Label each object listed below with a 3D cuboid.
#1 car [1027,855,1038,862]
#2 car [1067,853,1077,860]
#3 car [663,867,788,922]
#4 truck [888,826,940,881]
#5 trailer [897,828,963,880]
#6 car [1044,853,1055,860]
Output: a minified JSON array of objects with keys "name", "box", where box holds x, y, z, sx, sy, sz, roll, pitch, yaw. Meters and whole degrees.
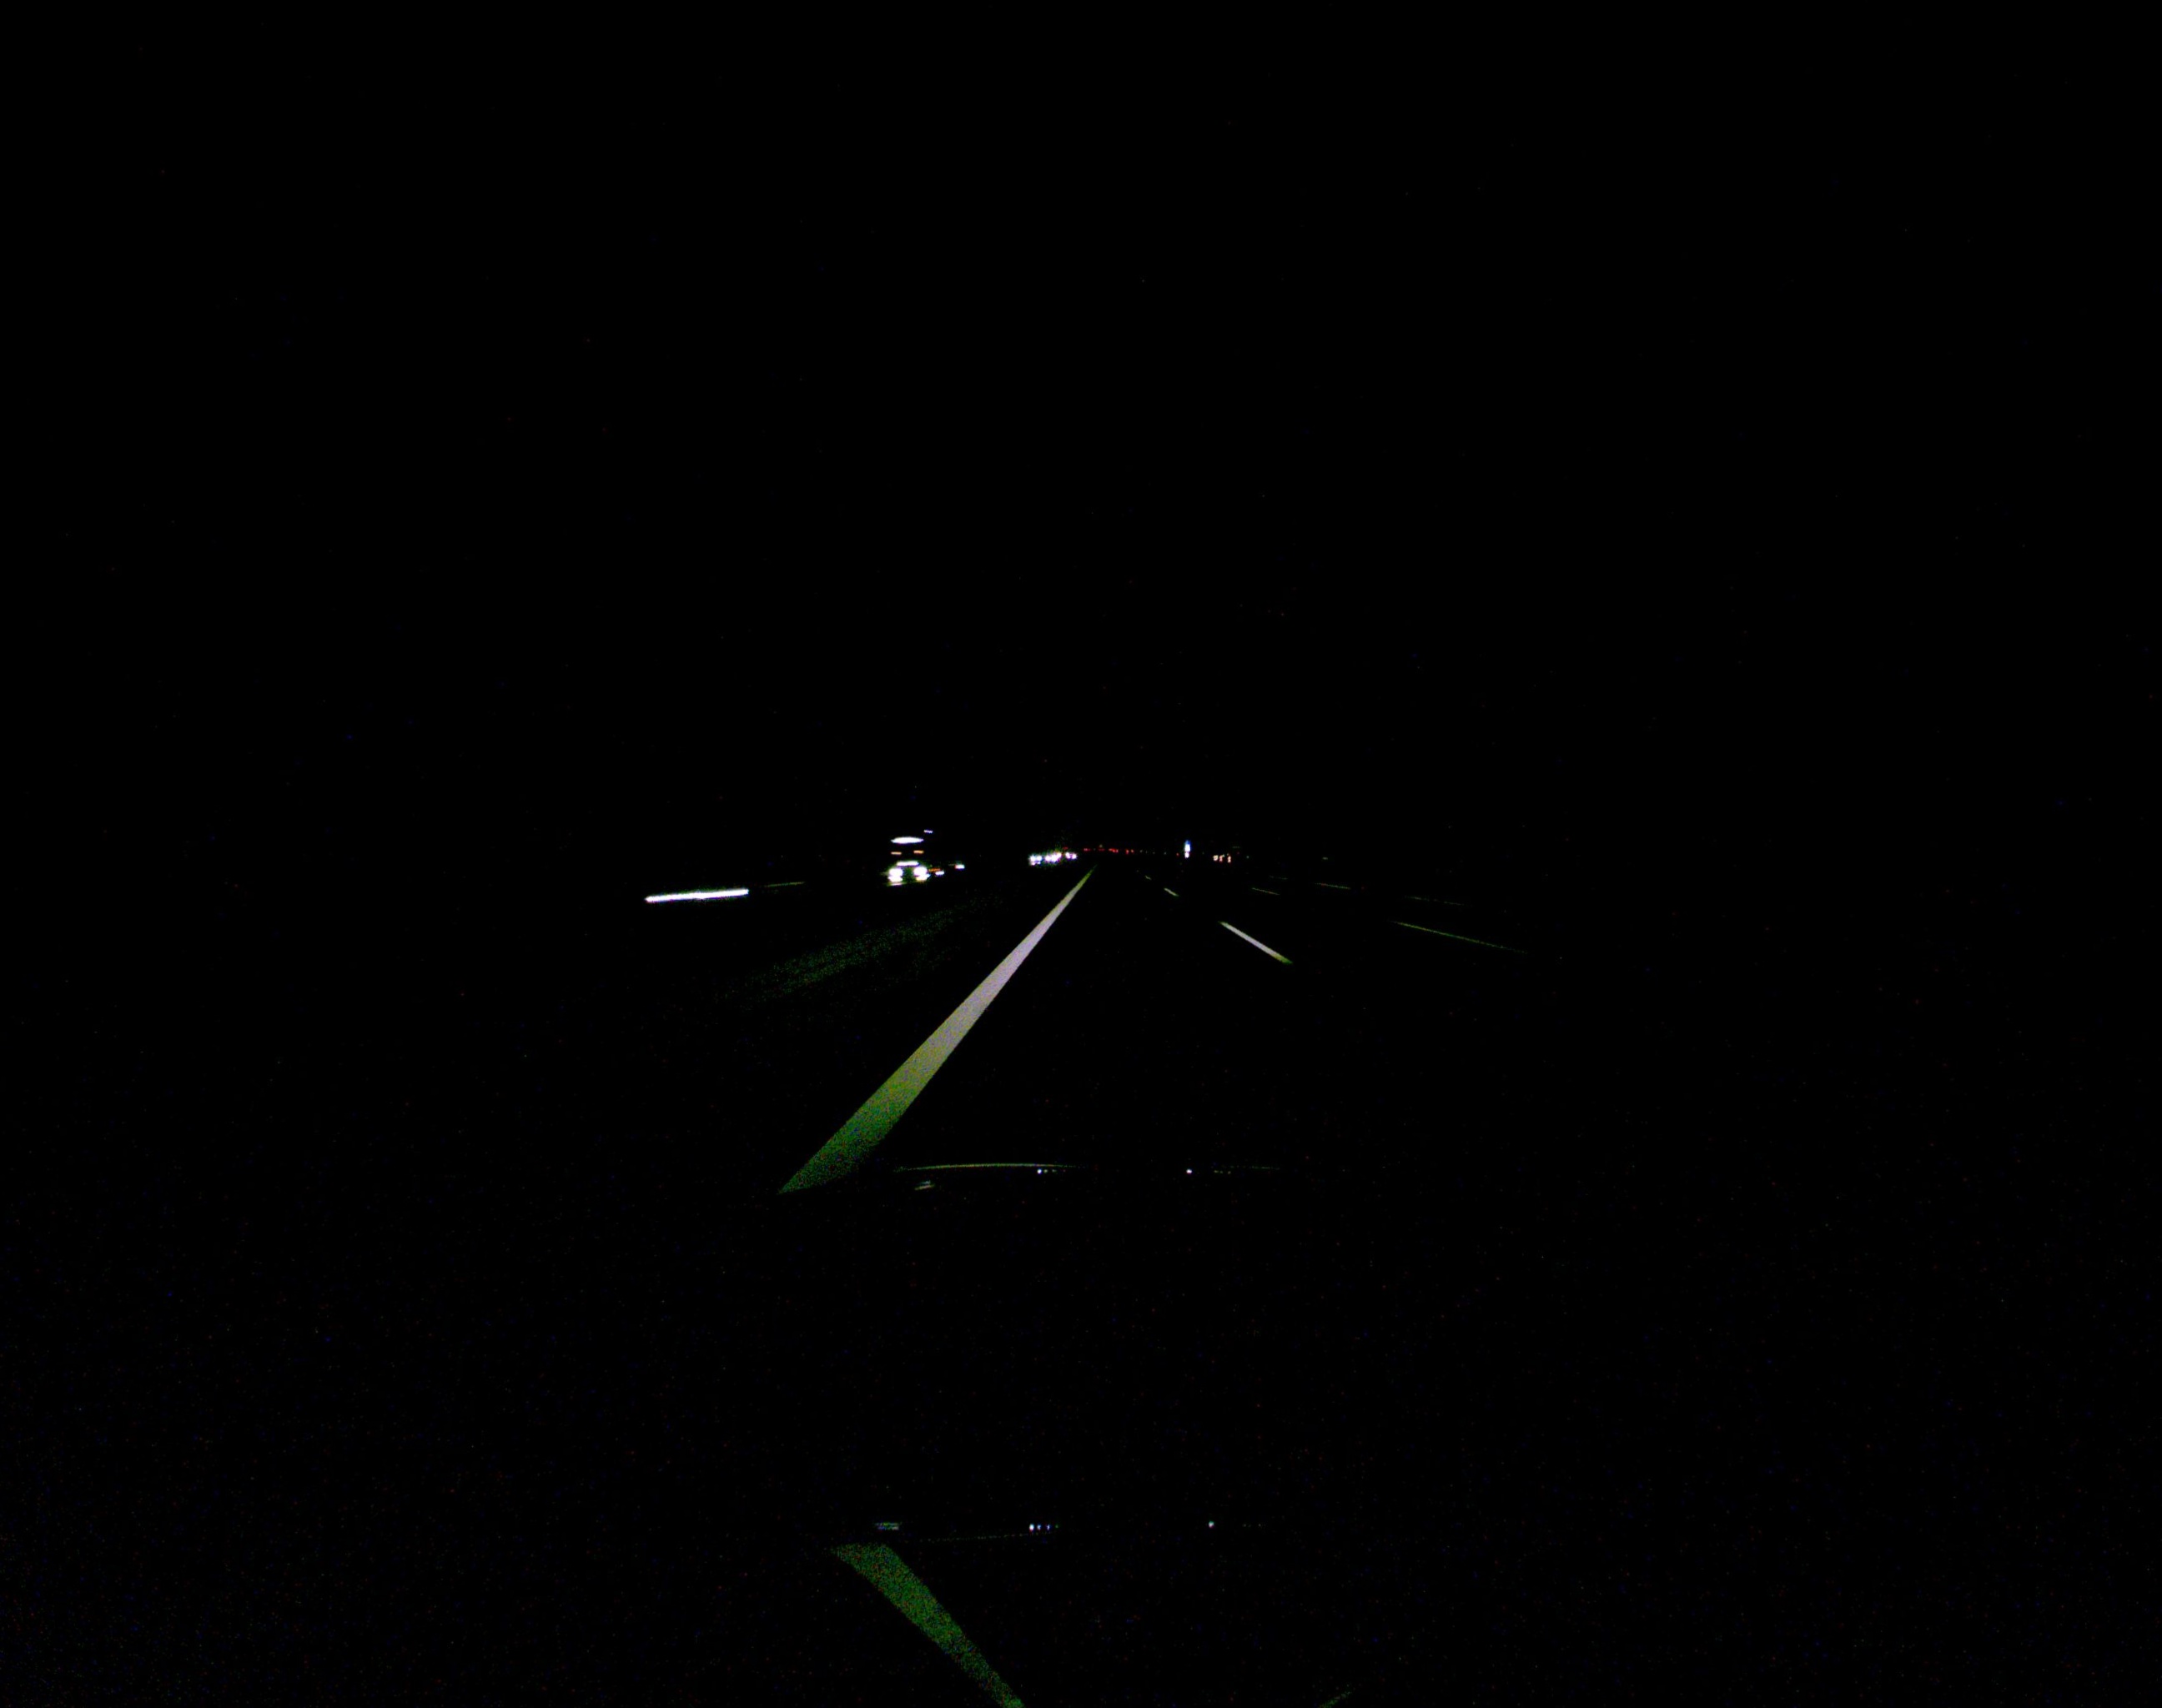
[{"name":"car","box":[-10.777,1.006,180.344,1.986,1.485,4.803,-3,0,2]},{"name":"car","box":[-2.214,0.528,200.404,1.986,1.461,4.903,-4,0,2]},{"name":"car","box":[-11.465,1.245,26.664,1.988,1.461,4.690,-3,0,-1]},{"name":"truck","box":[-13.775,-0.019,67.644,2.744,4.212,5.827,-3,0,1]},{"name":"trailer","box":[-13.596,0.000,74.900,2.850,4.176,13.908,-3,0,1]},{"name":"car","box":[-6.986,0.593,179.597,1.986,1.394,5.707,-3,0,1]}]
